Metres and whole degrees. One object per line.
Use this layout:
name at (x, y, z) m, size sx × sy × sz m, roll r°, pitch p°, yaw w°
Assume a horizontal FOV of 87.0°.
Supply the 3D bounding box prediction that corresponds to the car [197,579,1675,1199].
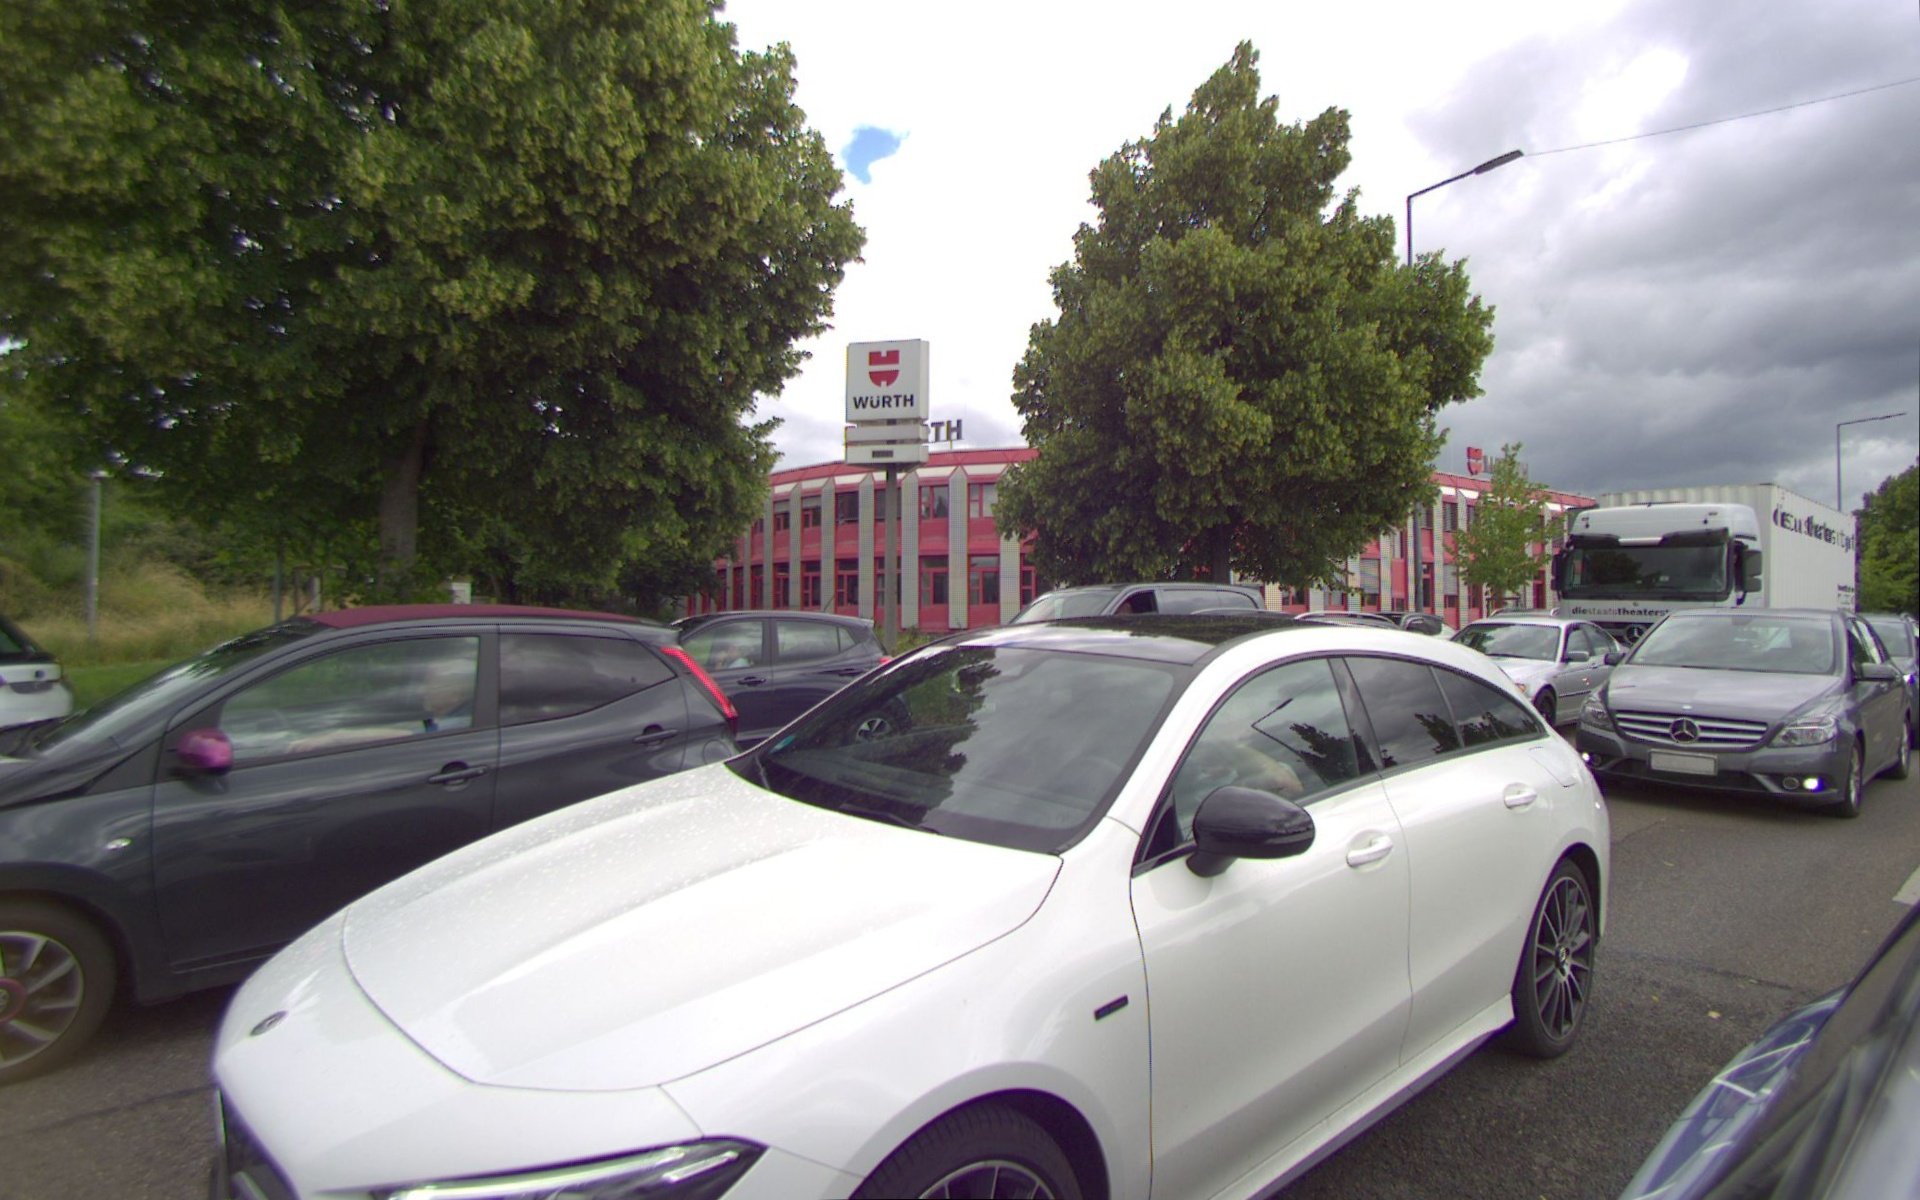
car at (0.443, 0.714, 3.162) m, size 4.450 × 1.525 × 1.848 m, roll -1°, pitch 0°, yaw -40°

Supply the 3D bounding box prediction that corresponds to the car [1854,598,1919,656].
car at (27.605, 0.738, 29.297) m, size 4.140 × 1.549 × 1.798 m, roll -1°, pitch 0°, yaw -37°

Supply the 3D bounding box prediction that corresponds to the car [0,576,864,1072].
car at (-2.438, 0.649, 4.480) m, size 3.815 × 1.471 × 1.615 m, roll -1°, pitch 0°, yaw -42°

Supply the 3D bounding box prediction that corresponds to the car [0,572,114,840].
car at (-8.258, 0.670, 6.255) m, size 4.277 × 1.676 × 1.767 m, roll 0°, pitch -1°, yaw -20°

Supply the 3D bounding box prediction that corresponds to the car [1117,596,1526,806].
car at (3.543, 0.735, 9.494) m, size 4.280 × 1.504 × 1.749 m, roll -1°, pitch 0°, yaw -41°

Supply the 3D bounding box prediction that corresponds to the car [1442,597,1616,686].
car at (11.991, 0.848, 21.241) m, size 4.133 × 1.679 × 1.863 m, roll 1°, pitch -3°, yaw -41°

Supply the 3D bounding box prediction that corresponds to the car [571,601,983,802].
car at (-1.670, 0.799, 9.585) m, size 3.495 × 1.525 × 1.608 m, roll -1°, pitch 0°, yaw -34°

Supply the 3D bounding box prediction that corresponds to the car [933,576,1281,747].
car at (1.994, 0.619, 12.819) m, size 4.592 × 1.797 × 1.762 m, roll -1°, pitch 0°, yaw -40°

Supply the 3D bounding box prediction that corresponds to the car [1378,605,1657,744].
car at (7.129, 0.796, 12.766) m, size 4.215 × 1.400 × 1.749 m, roll -1°, pitch 1°, yaw -41°

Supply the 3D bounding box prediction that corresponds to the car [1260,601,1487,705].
car at (7.006, 0.836, 16.982) m, size 4.034 × 1.536 × 1.842 m, roll 0°, pitch -4°, yaw -41°

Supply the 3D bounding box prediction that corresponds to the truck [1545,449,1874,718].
truck at (14.559, -0.219, 19.200) m, size 10.000 × 3.953 × 2.808 m, roll 0°, pitch 0°, yaw -40°

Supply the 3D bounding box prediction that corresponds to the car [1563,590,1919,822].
car at (6.840, 0.728, 8.649) m, size 3.976 × 1.527 × 1.749 m, roll 1°, pitch -1°, yaw -41°

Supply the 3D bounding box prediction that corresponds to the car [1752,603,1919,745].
car at (11.310, 0.826, 12.576) m, size 3.769 × 1.512 × 1.627 m, roll 1°, pitch -1°, yaw -41°

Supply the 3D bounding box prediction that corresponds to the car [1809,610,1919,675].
car at (23.819, 1.064, 26.476) m, size 4.299 × 1.549 × 1.850 m, roll 1°, pitch -1°, yaw -41°
